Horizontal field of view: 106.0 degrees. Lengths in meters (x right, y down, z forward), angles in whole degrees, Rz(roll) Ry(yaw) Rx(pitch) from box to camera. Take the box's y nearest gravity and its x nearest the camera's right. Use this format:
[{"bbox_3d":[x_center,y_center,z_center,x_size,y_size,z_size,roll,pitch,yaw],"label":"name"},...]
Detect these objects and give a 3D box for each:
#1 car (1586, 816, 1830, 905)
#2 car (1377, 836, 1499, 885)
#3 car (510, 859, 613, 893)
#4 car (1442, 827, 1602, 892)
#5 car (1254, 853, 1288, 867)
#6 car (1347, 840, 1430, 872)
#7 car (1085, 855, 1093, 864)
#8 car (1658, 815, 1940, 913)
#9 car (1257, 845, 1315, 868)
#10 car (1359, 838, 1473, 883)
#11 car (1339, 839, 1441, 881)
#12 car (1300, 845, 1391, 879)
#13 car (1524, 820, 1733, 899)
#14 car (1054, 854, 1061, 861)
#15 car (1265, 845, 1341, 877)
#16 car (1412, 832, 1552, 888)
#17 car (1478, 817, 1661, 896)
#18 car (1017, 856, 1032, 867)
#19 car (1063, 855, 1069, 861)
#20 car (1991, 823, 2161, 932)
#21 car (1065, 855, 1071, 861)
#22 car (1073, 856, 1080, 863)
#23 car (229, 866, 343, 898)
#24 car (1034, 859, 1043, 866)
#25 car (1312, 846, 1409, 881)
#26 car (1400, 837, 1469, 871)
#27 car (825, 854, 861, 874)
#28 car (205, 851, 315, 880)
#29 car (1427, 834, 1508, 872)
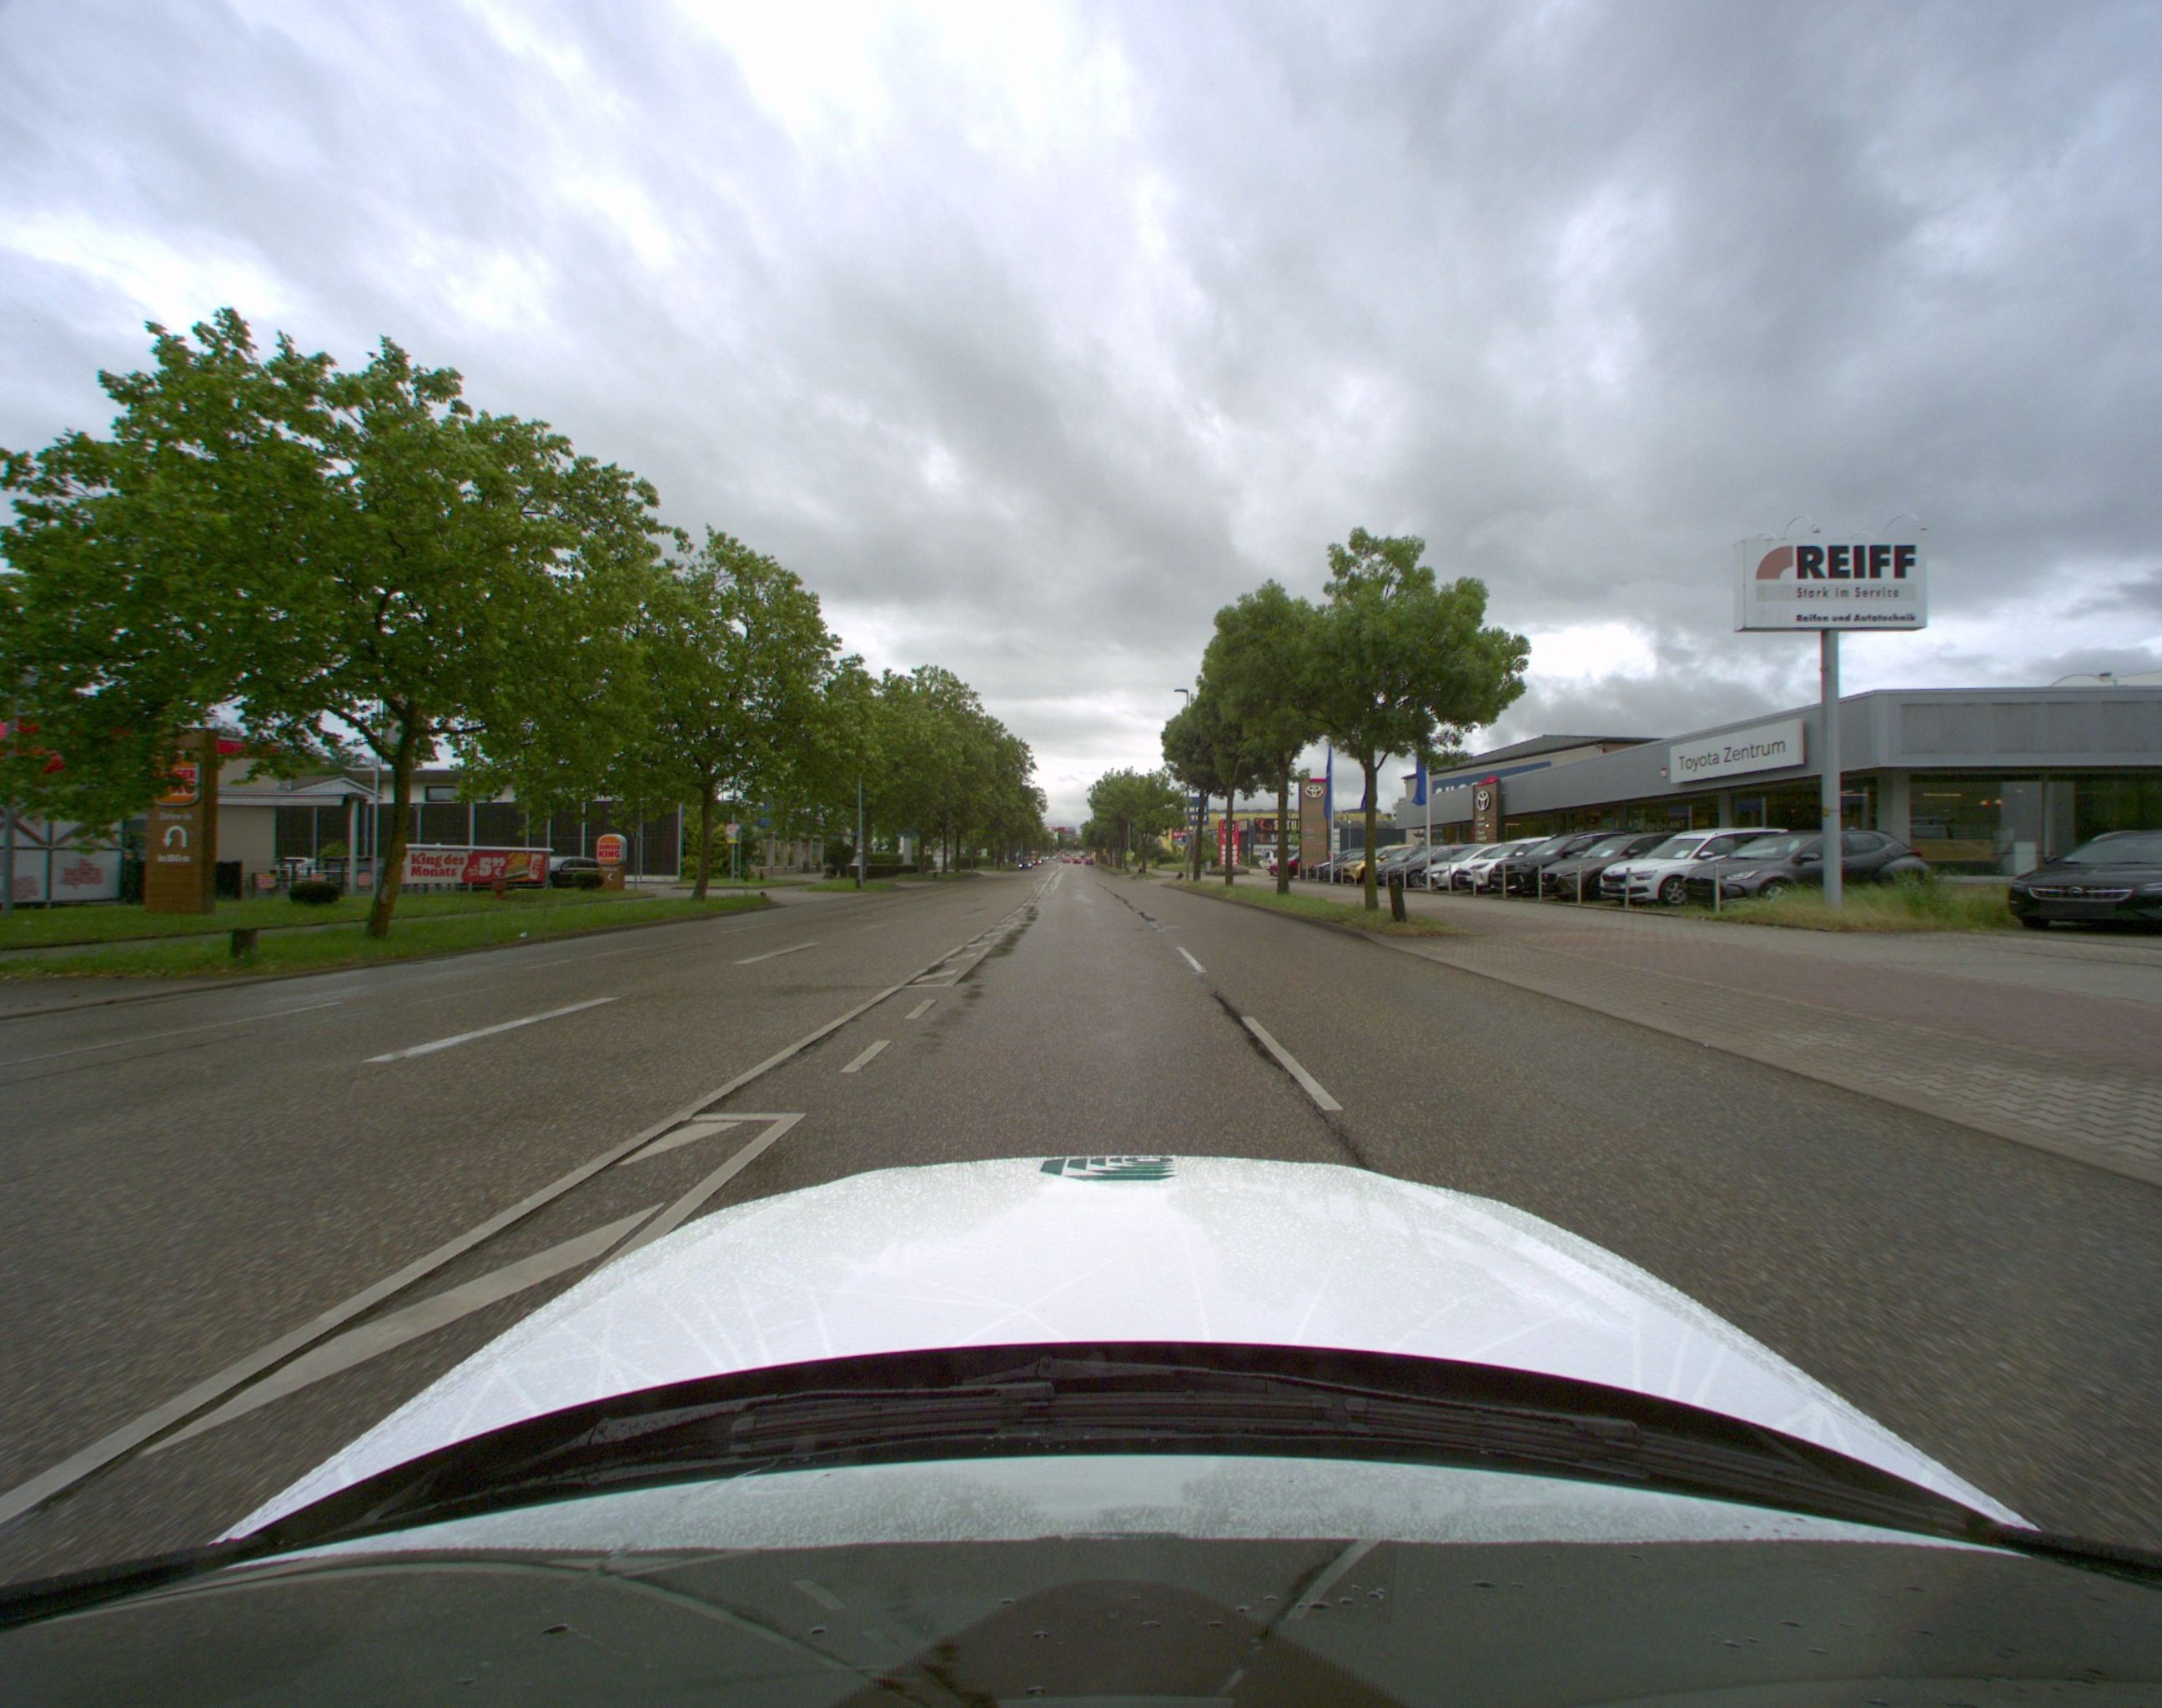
[{"bbox_3d":[13.972,0.148,18.345,3.972,1.543,1.813,-5,0,2],"label":"car"},{"bbox_3d":[13.846,0.248,31.737,3.971,1.786,1.813,-1,0,2],"label":"car"},{"bbox_3d":[-19.810,0.814,31.086,3.157,1.155,1.293,2,0,8],"label":"car"},{"bbox_3d":[13.846,0.153,25.695,3.976,1.587,1.811,-6,0,-2],"label":"car"},{"bbox_3d":[20.888,0.648,89.537,1.880,1.468,4.936,-1,0,-10],"label":"car"},{"bbox_3d":[17.595,0.116,46.745,4.090,1.621,1.883,-3,0,4],"label":"car"},{"bbox_3d":[1.837,1.166,184.949,1.739,2.014,4.001,-1,0,1],"label":"car"},{"bbox_3d":[13.831,0.185,15.853,3.821,1.461,1.827,-5,0,-1],"label":"car"},{"bbox_3d":[18.958,0.275,75.480,4.821,2.014,1.983,-1,-1,-10],"label":"car"},{"bbox_3d":[13.934,0.257,33.995,3.971,1.547,1.711,-4,0,2],"label":"car"},{"bbox_3d":[13.786,0.267,36.424,3.830,1.566,1.665,-5,0,-3],"label":"car"},{"bbox_3d":[13.282,0.398,41.028,3.974,1.647,1.845,0,0,0],"label":"car"},{"bbox_3d":[13.820,0.133,20.728,3.972,1.584,1.813,-5,0,2],"label":"car"},{"bbox_3d":[-7.301,1.171,253.350,1.988,2.014,3.998,-1,0,-1],"label":"car"},{"bbox_3d":[12.759,0.385,46.988,3.828,1.603,1.795,-3,0,0],"label":"car"},{"bbox_3d":[13.900,0.201,28.379,3.971,1.786,1.813,-1,0,2],"label":"car"},{"bbox_3d":[13.753,0.070,23.102,3.972,1.786,1.813,-5,-1,2],"label":"car"},{"bbox_3d":[-8.353,1.088,120.418,1.798,1.463,3.845,-2,0,0],"label":"car"},{"bbox_3d":[-4.384,1.131,240.273,1.739,1.701,4.001,-1,0,1],"label":"car"},{"bbox_3d":[16.106,0.291,12.220,3.684,1.464,1.785,-1,0,-15],"label":"car"},{"bbox_3d":[-3.988,1.179,254.924,1.885,1.876,4.122,-1,0,-1],"label":"car"},{"bbox_3d":[-1.238,1.442,217.594,1.739,2.013,4.001,-1,0,1],"label":"car"},{"bbox_3d":[-45.186,1.548,46.407,1.853,1.638,4.329,-1,0,12],"label":"car"},{"bbox_3d":[-9.857,1.895,188.617,1.720,1.517,3.820,-1,0,0],"label":"car"},{"bbox_3d":[13.270,0.435,38.786,3.974,1.538,1.800,-1,0,0],"label":"car"},{"bbox_3d":[18.555,0.004,42.911,1.868,1.621,4.123,-2,0,1],"label":"car"},{"bbox_3d":[-19.192,0.777,65.749,1.818,1.486,3.937,-1,0,-1],"label":"car"},{"bbox_3d":[-49.259,0.663,48.977,1.853,1.638,4.329,-1,0,12],"label":"car"},{"bbox_3d":[18.148,-0.044,38.474,1.868,1.621,4.123,-2,0,1],"label":"car"}]
